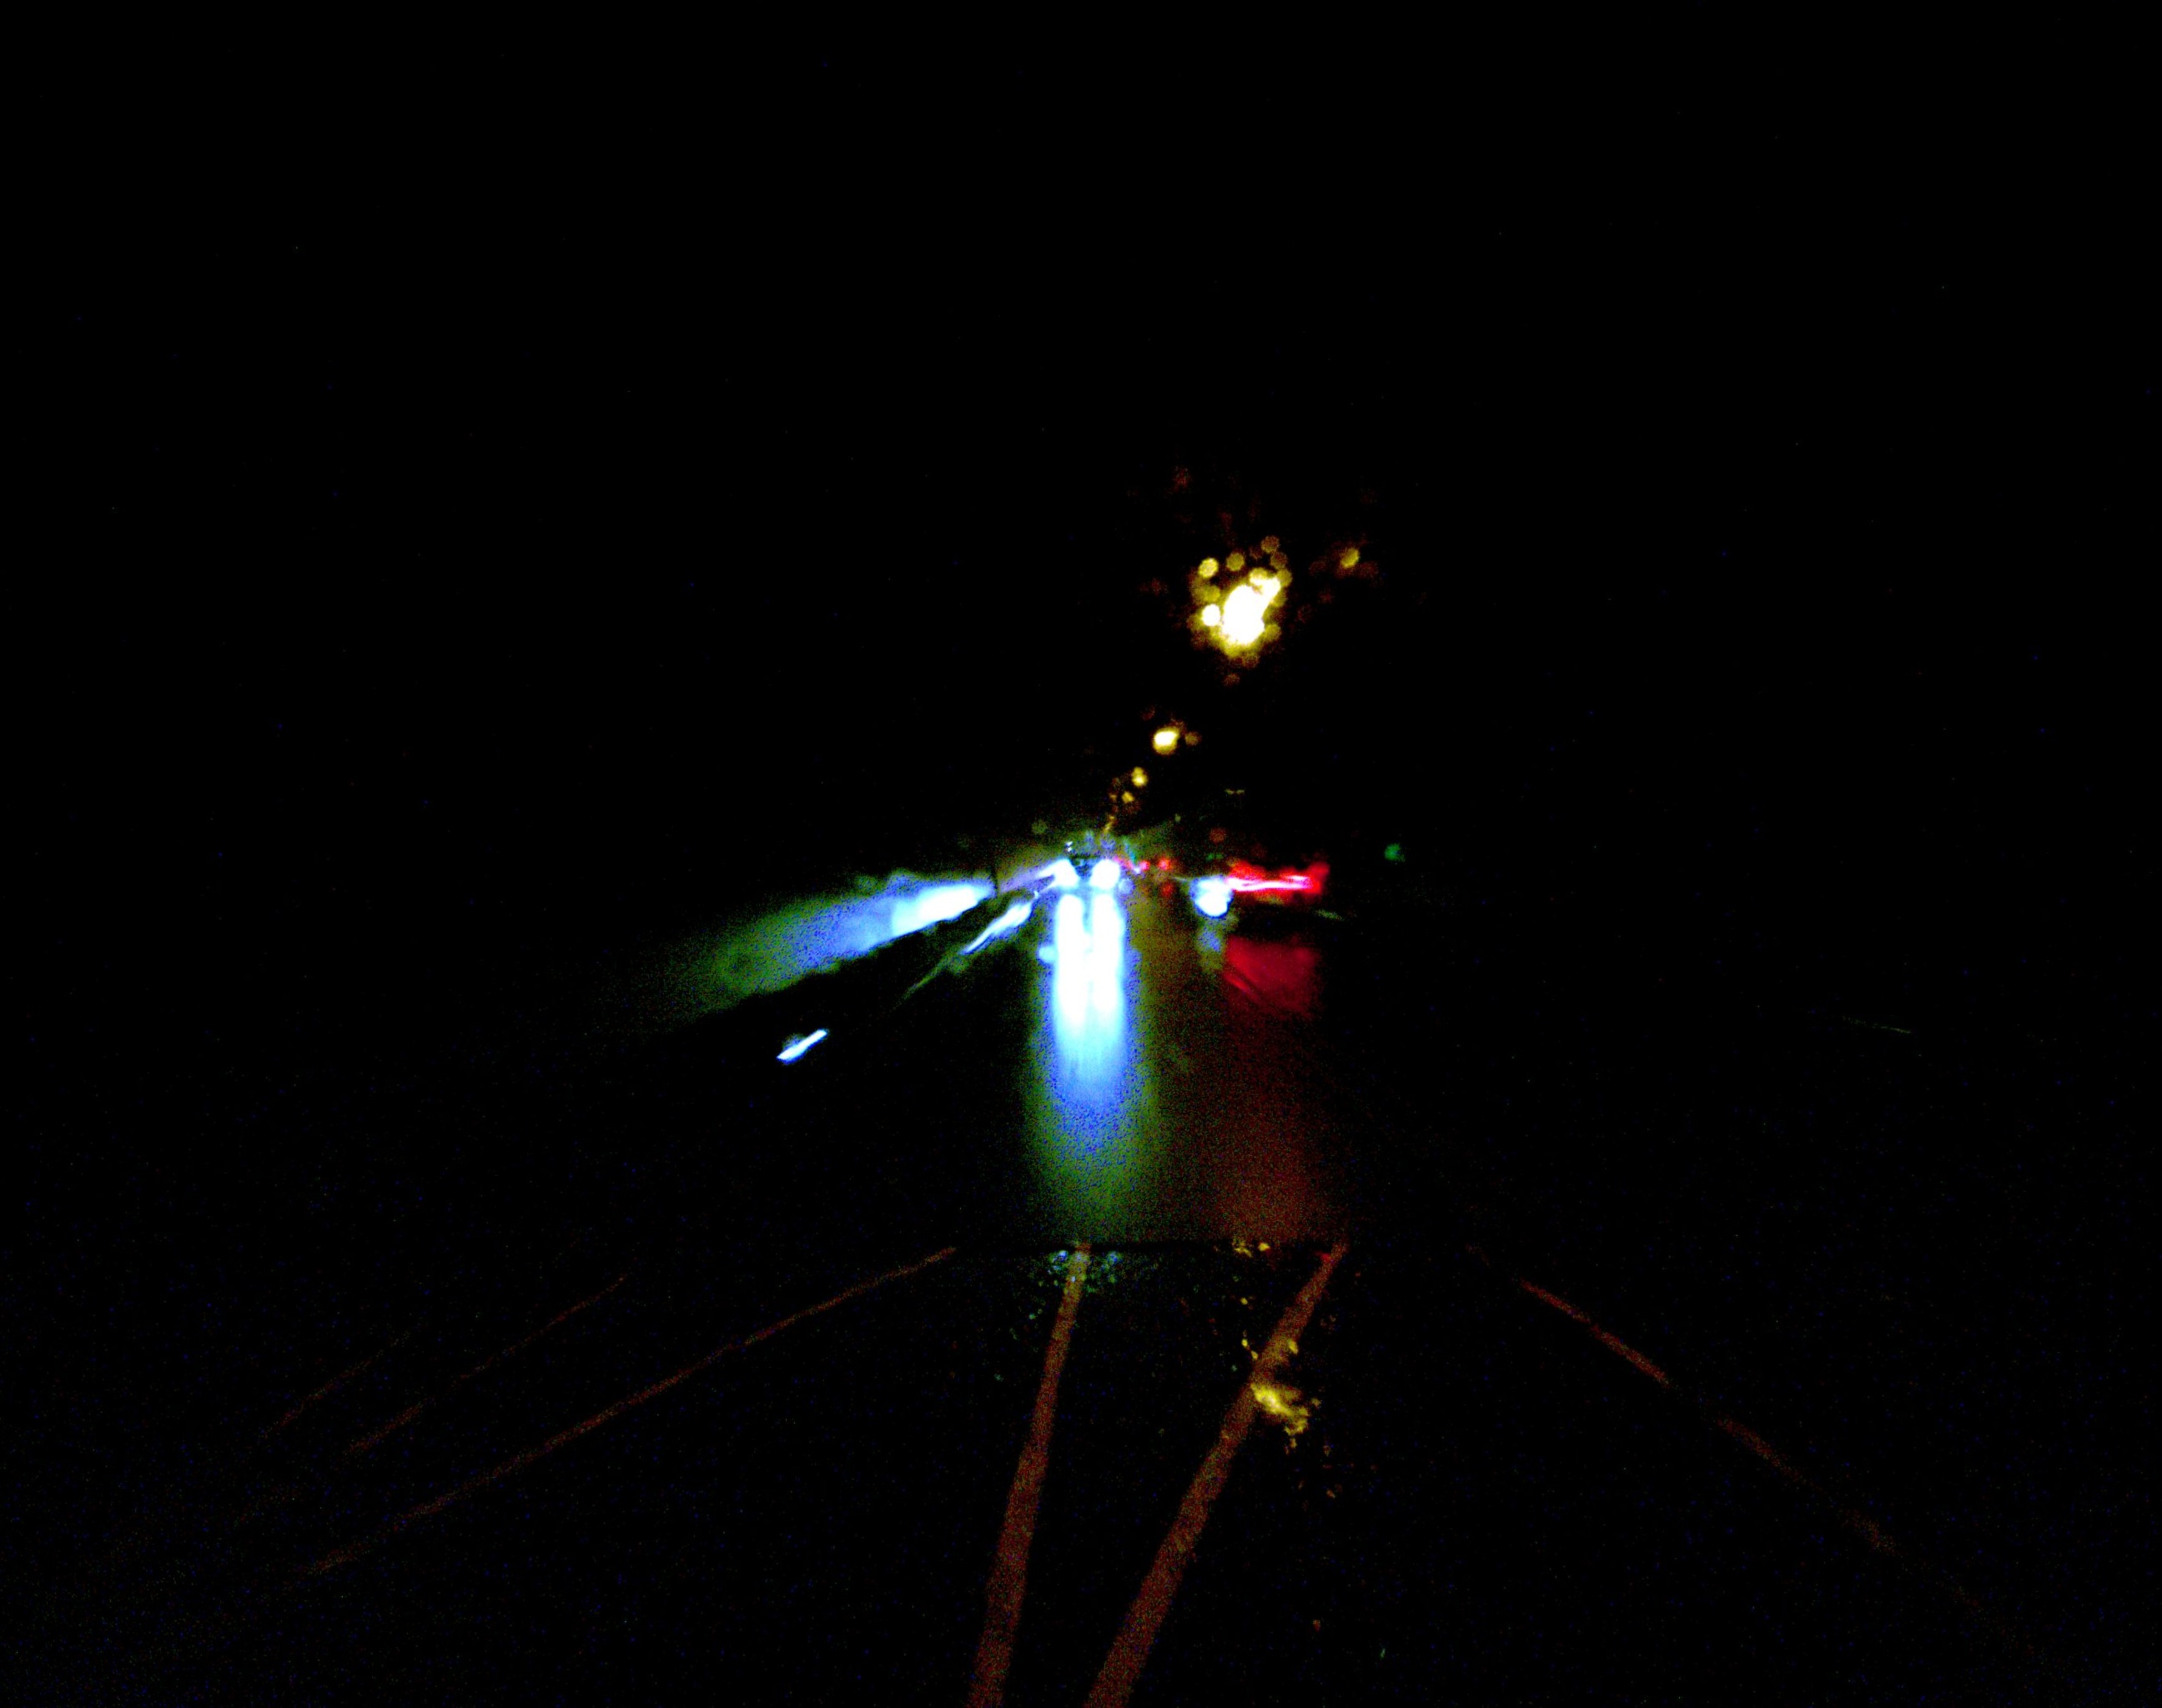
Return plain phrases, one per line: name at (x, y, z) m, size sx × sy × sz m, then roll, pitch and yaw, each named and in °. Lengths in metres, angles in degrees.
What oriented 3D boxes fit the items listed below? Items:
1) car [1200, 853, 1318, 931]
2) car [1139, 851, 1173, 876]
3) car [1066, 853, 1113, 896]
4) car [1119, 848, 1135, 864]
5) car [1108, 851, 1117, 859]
car at (3.758, 0.729, 16.703) m, size 1.764 × 1.472 × 3.887 m, roll -1°, pitch 0°, yaw 2°
car at (4.531, 0.559, 46.446) m, size 1.739 × 1.433 × 3.836 m, roll -2°, pitch 0°, yaw 1°
car at (0.372, 0.790, 31.982) m, size 1.829 × 1.650 × 3.929 m, roll -1°, pitch 0°, yaw 1°
car at (5.004, 0.203, 82.782) m, size 1.573 × 1.622 × 3.729 m, roll -1°, pitch 0°, yaw 1°
car at (6.497, 0.181, 156.422) m, size 1.602 × 1.604 × 3.995 m, roll -2°, pitch 0°, yaw 1°
